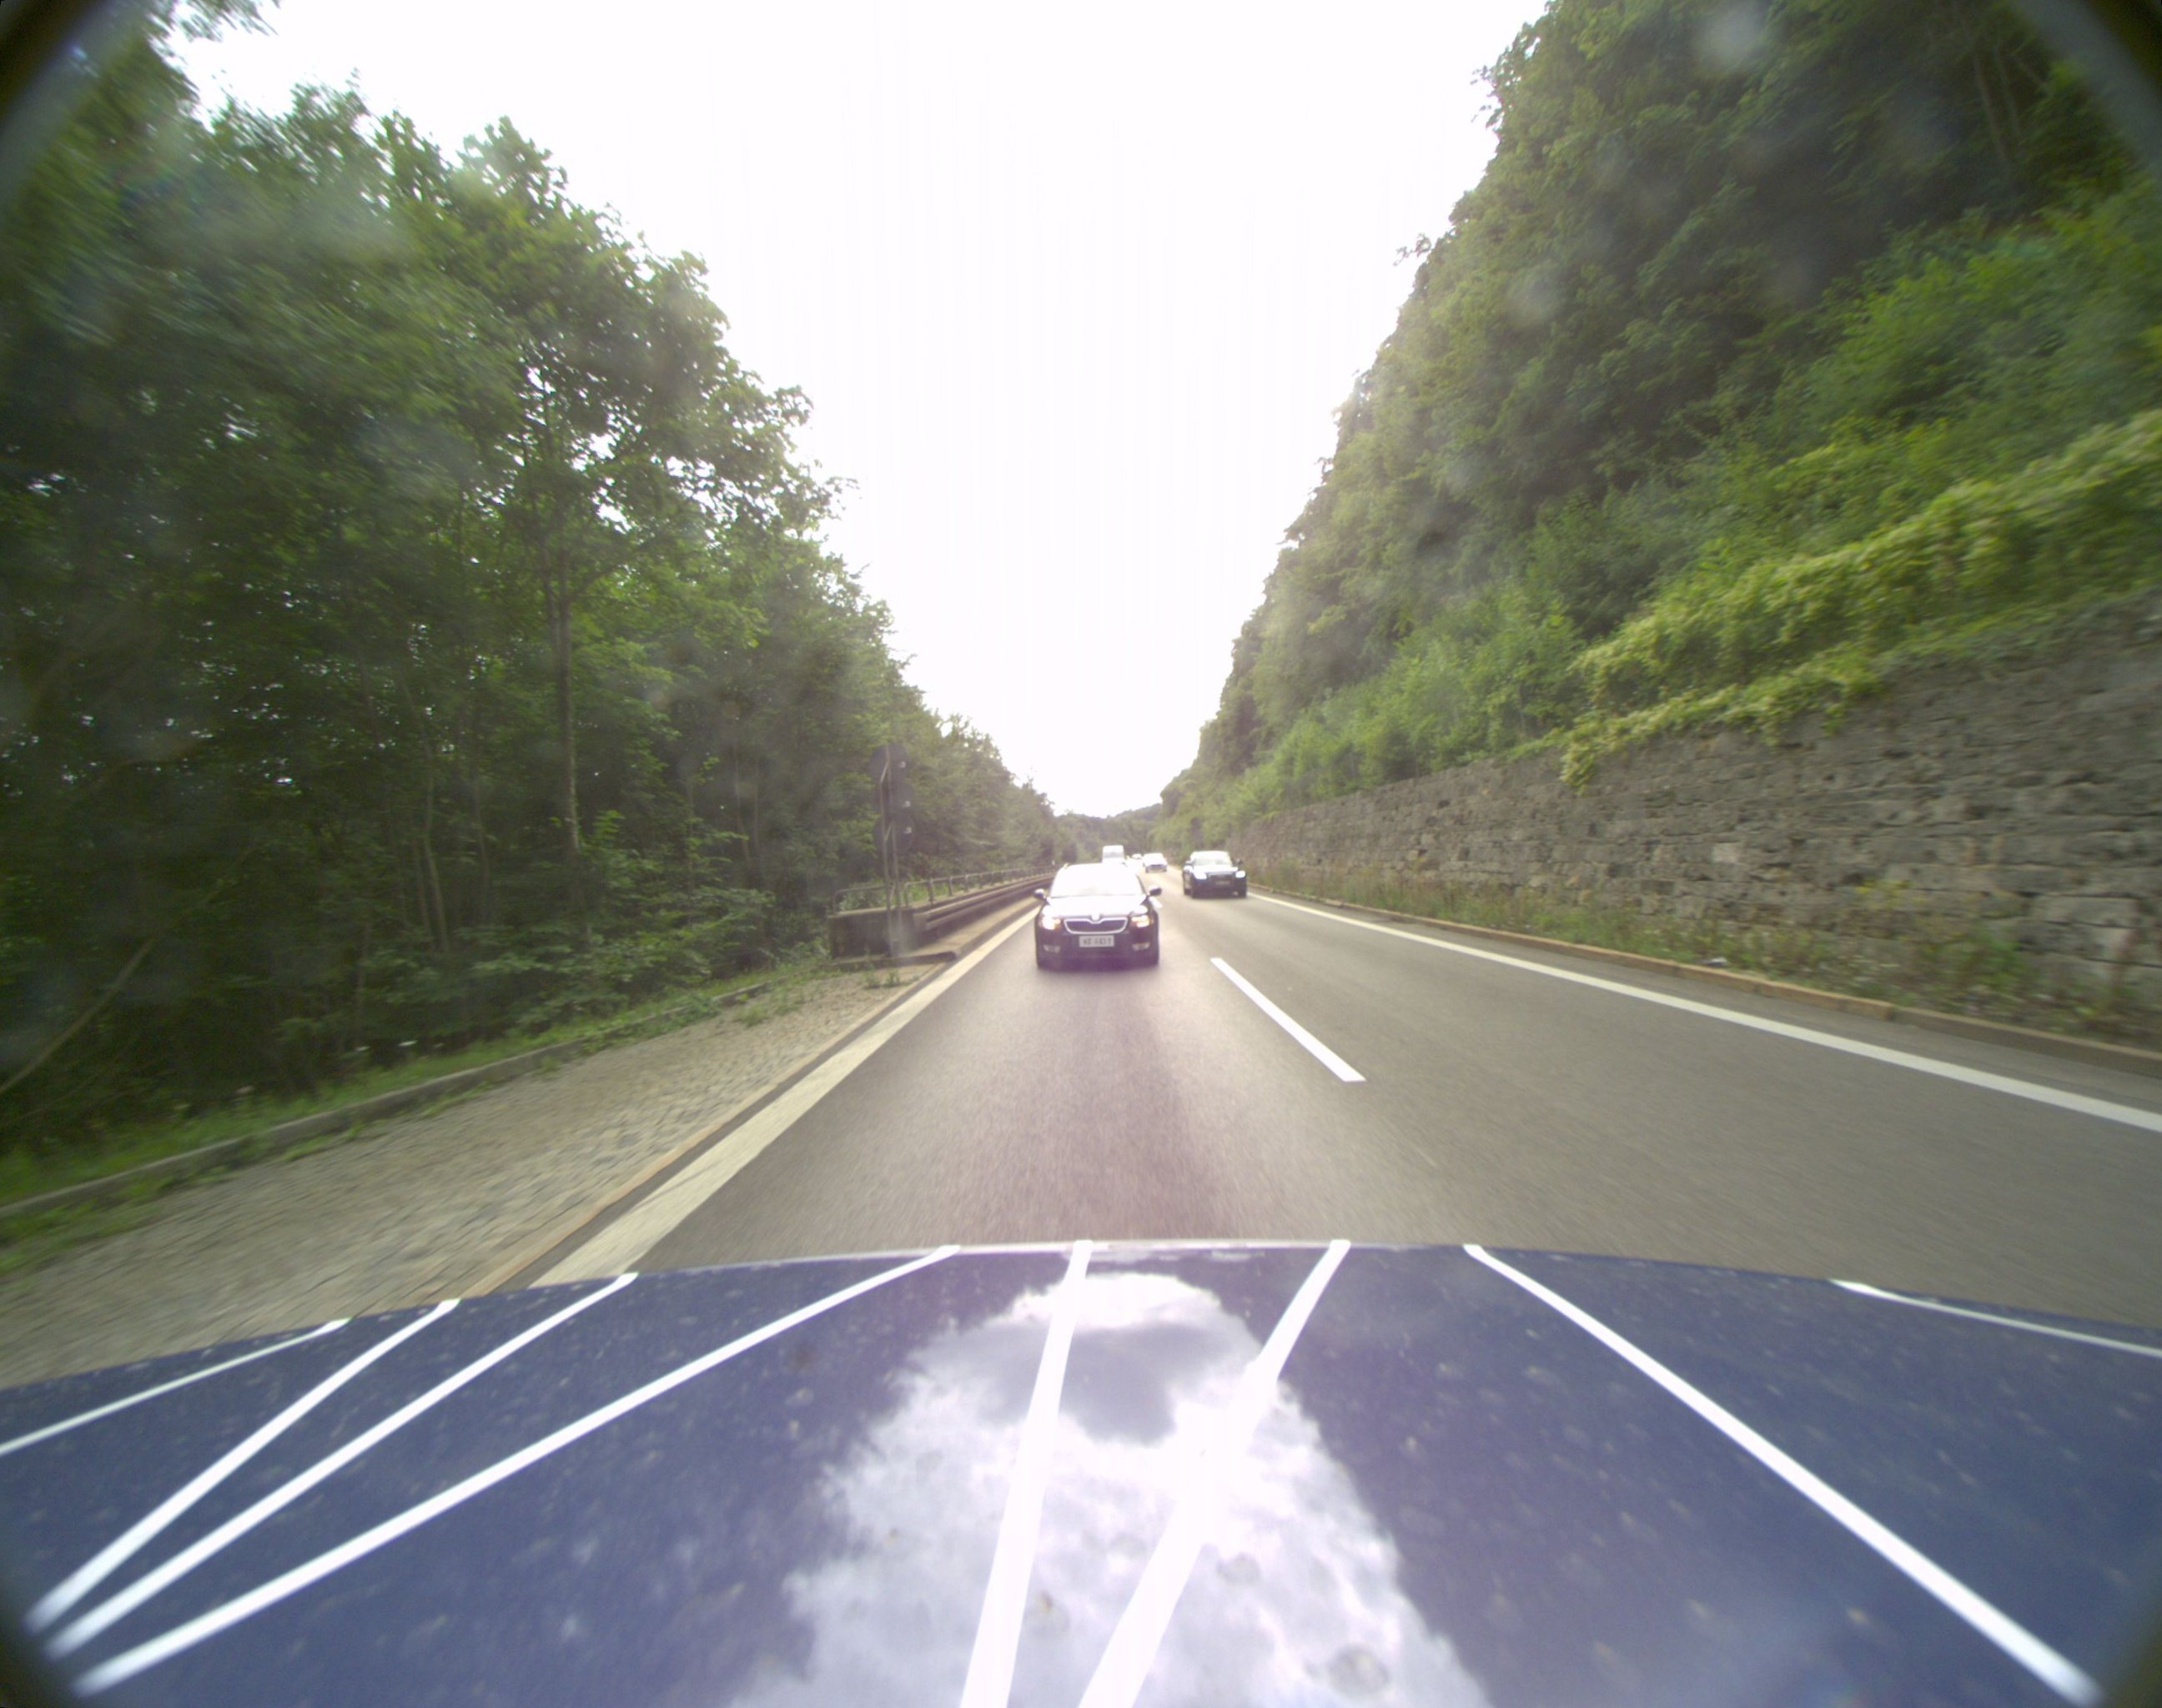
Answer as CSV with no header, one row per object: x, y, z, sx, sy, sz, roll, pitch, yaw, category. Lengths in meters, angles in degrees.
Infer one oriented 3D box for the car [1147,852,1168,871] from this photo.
6.764,0.675,67.595,1.822,1.546,4.002,-1,-1,5,car

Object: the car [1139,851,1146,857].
18.906,0.025,233.078,1.822,1.546,4.003,-1,-1,6,car

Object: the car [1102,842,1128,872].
3.135,0.332,68.665,2.098,2.547,5.922,-1,-1,4,car

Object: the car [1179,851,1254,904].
4.909,0.786,28.338,1.976,1.584,5.585,-4,1,3,car

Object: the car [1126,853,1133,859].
14.335,0.675,223.726,1.822,1.546,4.003,-1,-1,6,car

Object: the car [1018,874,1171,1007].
0.218,1.013,10.647,1.638,1.384,4.500,-2,-1,2,car
